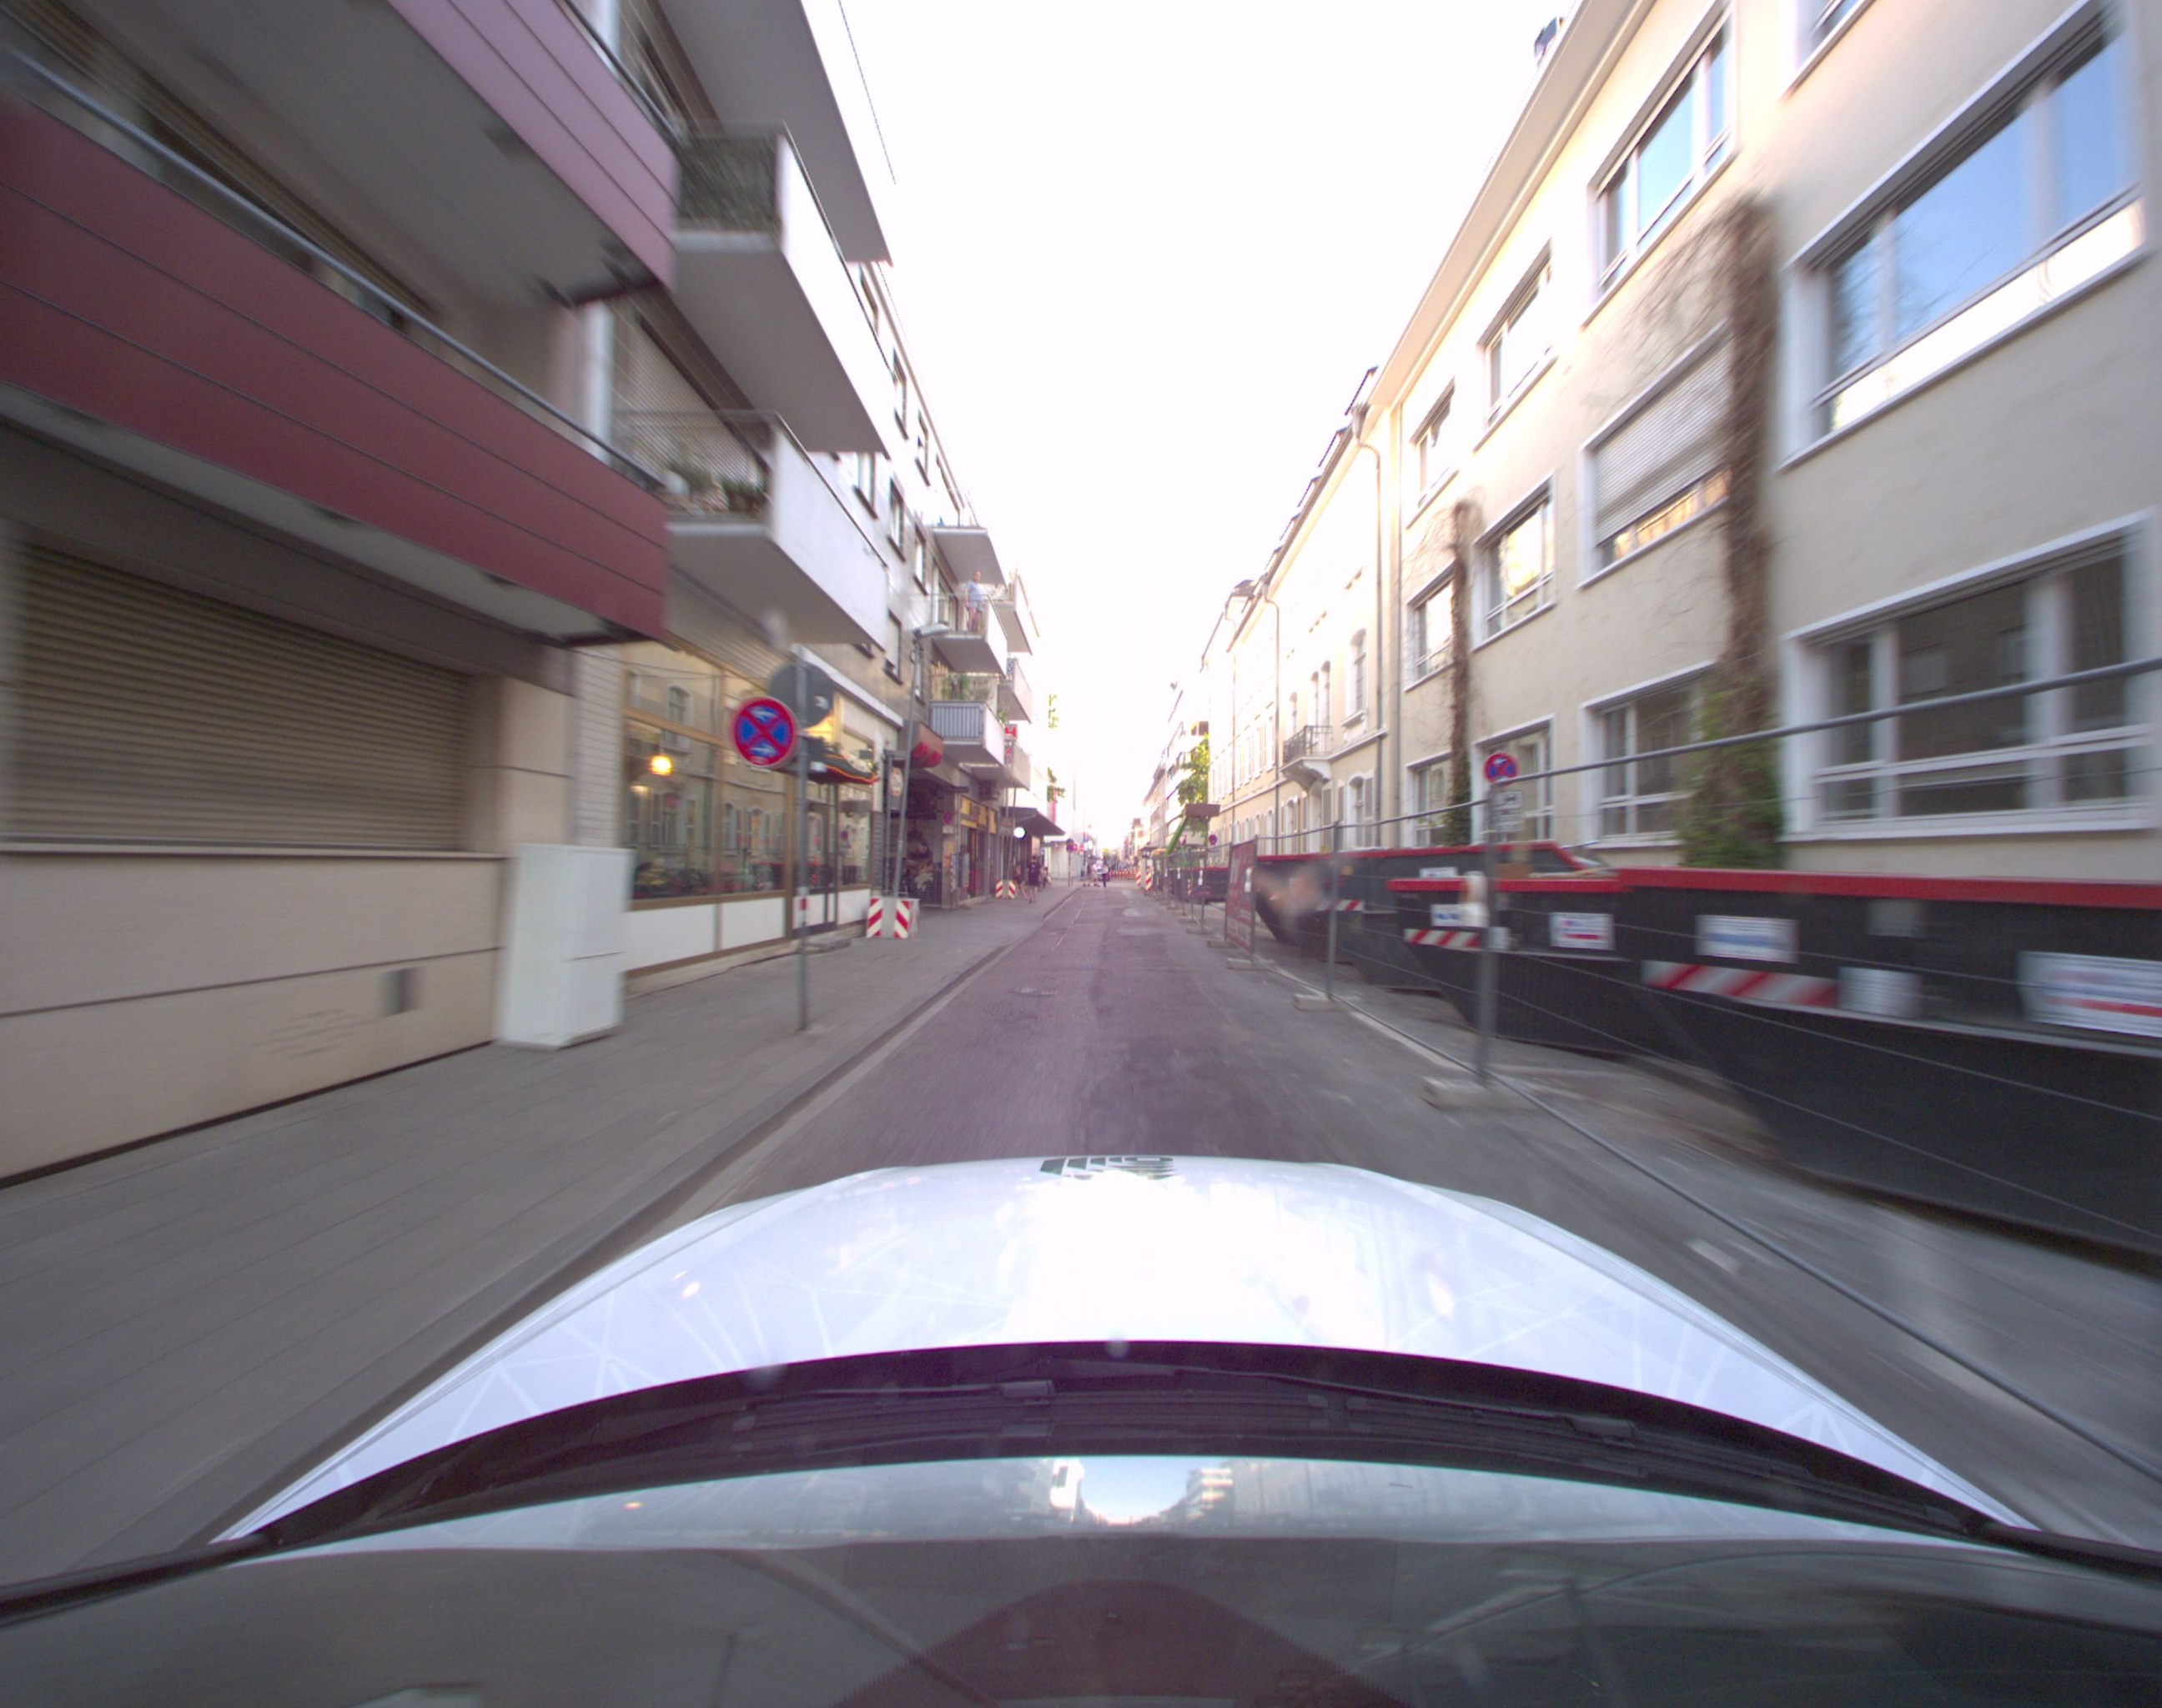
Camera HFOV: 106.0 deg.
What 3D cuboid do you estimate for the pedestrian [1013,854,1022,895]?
[{"bbox_3d":[-3.112,1.011,39.996,0.409,2.014,0.453,0,-2,-1],"label":"pedestrian"}]

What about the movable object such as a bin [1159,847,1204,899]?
[{"bbox_3d":[6.382,1.155,52.181,2.461,3.131,4.299,1,0,2],"label":"movable object such as a bin"}]

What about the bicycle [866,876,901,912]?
[{"bbox_3d":[-5.774,1.155,23.867,0.520,1.010,1.748,0,-1,2],"label":"bicycle"}]

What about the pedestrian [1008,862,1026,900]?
[{"bbox_3d":[-2.638,1.104,33.717,0.646,1.565,0.628,1,-2,-13],"label":"pedestrian"}]

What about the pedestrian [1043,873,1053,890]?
[{"bbox_3d":[-2.165,1.828,54.141,0.616,1.172,0.787,0,-1,1],"label":"pedestrian"}]

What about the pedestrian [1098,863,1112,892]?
[{"bbox_3d":[1.489,1.448,50.512,0.714,1.740,0.650,0,-2,20],"label":"pedestrian"}]

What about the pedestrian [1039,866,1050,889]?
[{"bbox_3d":[-2.264,1.438,50.466,0.556,1.390,0.893,1,0,2],"label":"pedestrian"}]

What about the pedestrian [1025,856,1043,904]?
[{"bbox_3d":[-1.806,0.999,31.545,0.626,1.808,0.648,0,-1,3],"label":"pedestrian"}]

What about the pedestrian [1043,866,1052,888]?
[{"bbox_3d":[-2.123,1.432,51.335,0.540,1.388,0.625,0,-1,2],"label":"pedestrian"}]

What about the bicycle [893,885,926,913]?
[{"bbox_3d":[-5.006,1.310,23.883,0.520,0.761,1.748,0,-1,2],"label":"bicycle"}]

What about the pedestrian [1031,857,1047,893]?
[{"bbox_3d":[-2.220,1.107,42.977,0.566,1.886,0.660,-1,-2,36],"label":"pedestrian"}]

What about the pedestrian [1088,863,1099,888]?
[{"bbox_3d":[0.864,1.517,57.764,0.646,1.810,0.628,1,-2,-15],"label":"pedestrian"}]

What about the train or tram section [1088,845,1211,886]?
[{"bbox_3d":[5.854,0.992,70.501,10.449,3.460,3.000,0,-1,1],"label":"train or tram section"}]

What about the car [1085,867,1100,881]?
[{"bbox_3d":[1.164,2.076,83.708,1.468,1.398,3.333,0,-1,2],"label":"car"}]

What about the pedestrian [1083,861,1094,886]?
[{"bbox_3d":[0.560,1.421,58.675,0.646,1.810,0.628,1,-2,-15],"label":"pedestrian"}]
